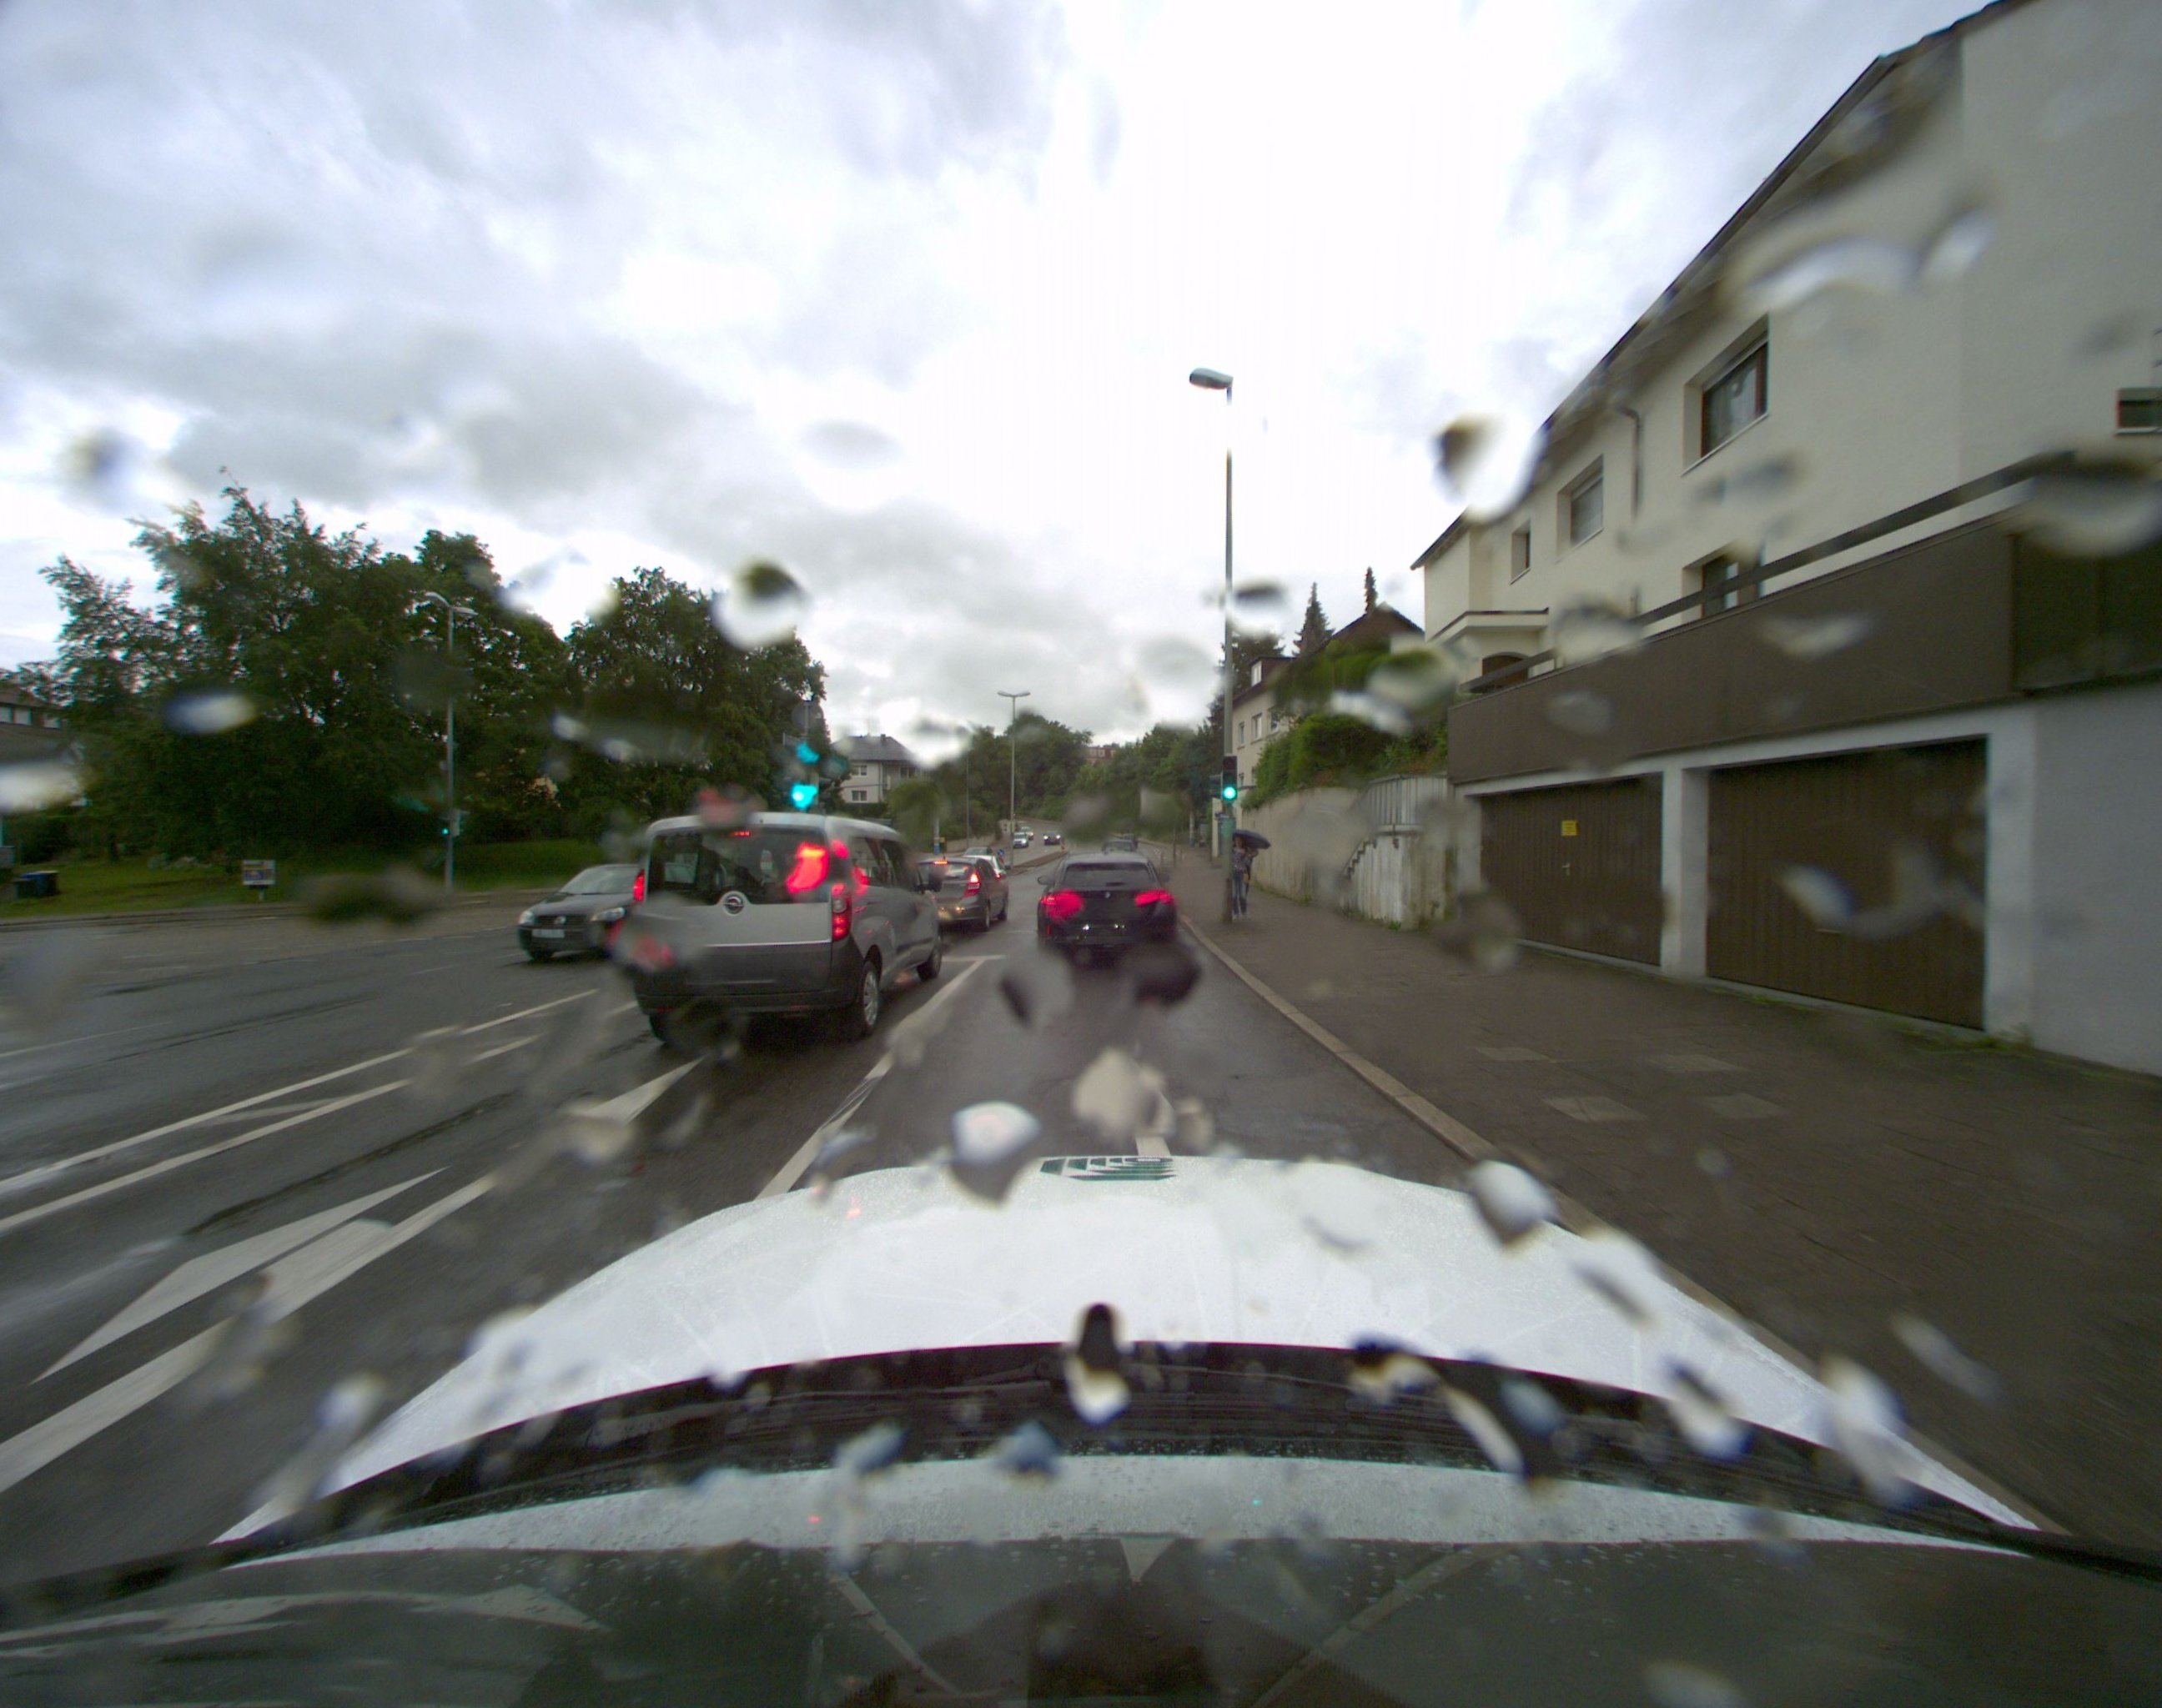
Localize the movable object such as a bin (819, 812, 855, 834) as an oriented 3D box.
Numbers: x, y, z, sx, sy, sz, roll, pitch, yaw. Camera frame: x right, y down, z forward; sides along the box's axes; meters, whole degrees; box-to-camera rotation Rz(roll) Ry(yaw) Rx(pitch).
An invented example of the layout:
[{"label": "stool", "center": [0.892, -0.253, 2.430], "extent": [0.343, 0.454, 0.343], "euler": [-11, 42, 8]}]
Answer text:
[{"label": "movable object such as a bin", "center": [-17.360, -2.198, 58.053], "extent": [2.047, 1.514, 1.347], "euler": [-1, 2, 7]}]

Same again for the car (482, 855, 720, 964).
[{"label": "car", "center": [-7.669, 0.786, 13.538], "extent": [1.850, 1.464, 3.993], "euler": [-1, 1, -5]}]

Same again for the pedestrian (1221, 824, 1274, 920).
[{"label": "pedestrian", "center": [3.208, 0.332, 15.794], "extent": [0.790, 1.780, 1.012], "euler": [-2, 0, 2]}]

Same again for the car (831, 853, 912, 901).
[{"label": "car", "center": [-7.589, 0.788, 29.963], "extent": [1.831, 1.556, 4.766], "euler": [-2, 0, -2]}]

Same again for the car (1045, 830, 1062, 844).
[{"label": "car", "center": [-3.236, -1.978, 95.225], "extent": [1.838, 1.552, 4.376], "euler": [-2, 1, -5]}]

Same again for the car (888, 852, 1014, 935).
[{"label": "car", "center": [-2.550, 0.713, 16.947], "extent": [1.828, 1.487, 4.060], "euler": [-1, 0, 2]}]

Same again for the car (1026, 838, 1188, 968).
[{"label": "car", "center": [0.169, 0.628, 12.306], "extent": [1.990, 1.586, 4.656], "euler": [0, -1, -4]}]

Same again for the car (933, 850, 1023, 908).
[{"label": "car", "center": [-2.949, 0.678, 24.311], "extent": [1.901, 1.528, 4.654], "euler": [-1, 0, 2]}]

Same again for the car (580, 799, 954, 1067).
[{"label": "car", "center": [-2.626, 0.551, 8.236], "extent": [1.945, 1.871, 4.744], "euler": [-2, 0, -1]}]

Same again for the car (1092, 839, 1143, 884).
[{"label": "car", "center": [1.538, 0.274, 35.791], "extent": [1.987, 1.748, 4.000], "euler": [-2, 2, 0]}]

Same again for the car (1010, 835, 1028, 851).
[{"label": "car", "center": [-6.881, -1.213, 90.779], "extent": [1.819, 1.656, 4.463], "euler": [-2, 1, -2]}]

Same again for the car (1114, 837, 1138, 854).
[{"label": "car", "center": [4.473, -0.854, 81.360], "extent": [1.849, 1.661, 3.992], "euler": [0, 2, -7]}]

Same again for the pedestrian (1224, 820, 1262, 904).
[{"label": "pedestrian", "center": [3.982, 0.193, 20.060], "extent": [0.794, 2.013, 0.735], "euler": [-1, 0, 2]}]

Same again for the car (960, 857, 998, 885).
[{"label": "car", "center": [-5.996, 0.971, 48.300], "extent": [1.989, 1.574, 3.995], "euler": [-2, 0, -4]}]

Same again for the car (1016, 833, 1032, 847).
[{"label": "car", "center": [-7.542, -1.834, 107.135], "extent": [1.897, 1.682, 4.471], "euler": [-2, 2, -6]}]

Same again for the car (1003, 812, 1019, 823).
[{"label": "car", "center": [-13.848, -7.247, 161.429], "extent": [2.002, 2.013, 3.970], "euler": [-2, 0, -22]}]
